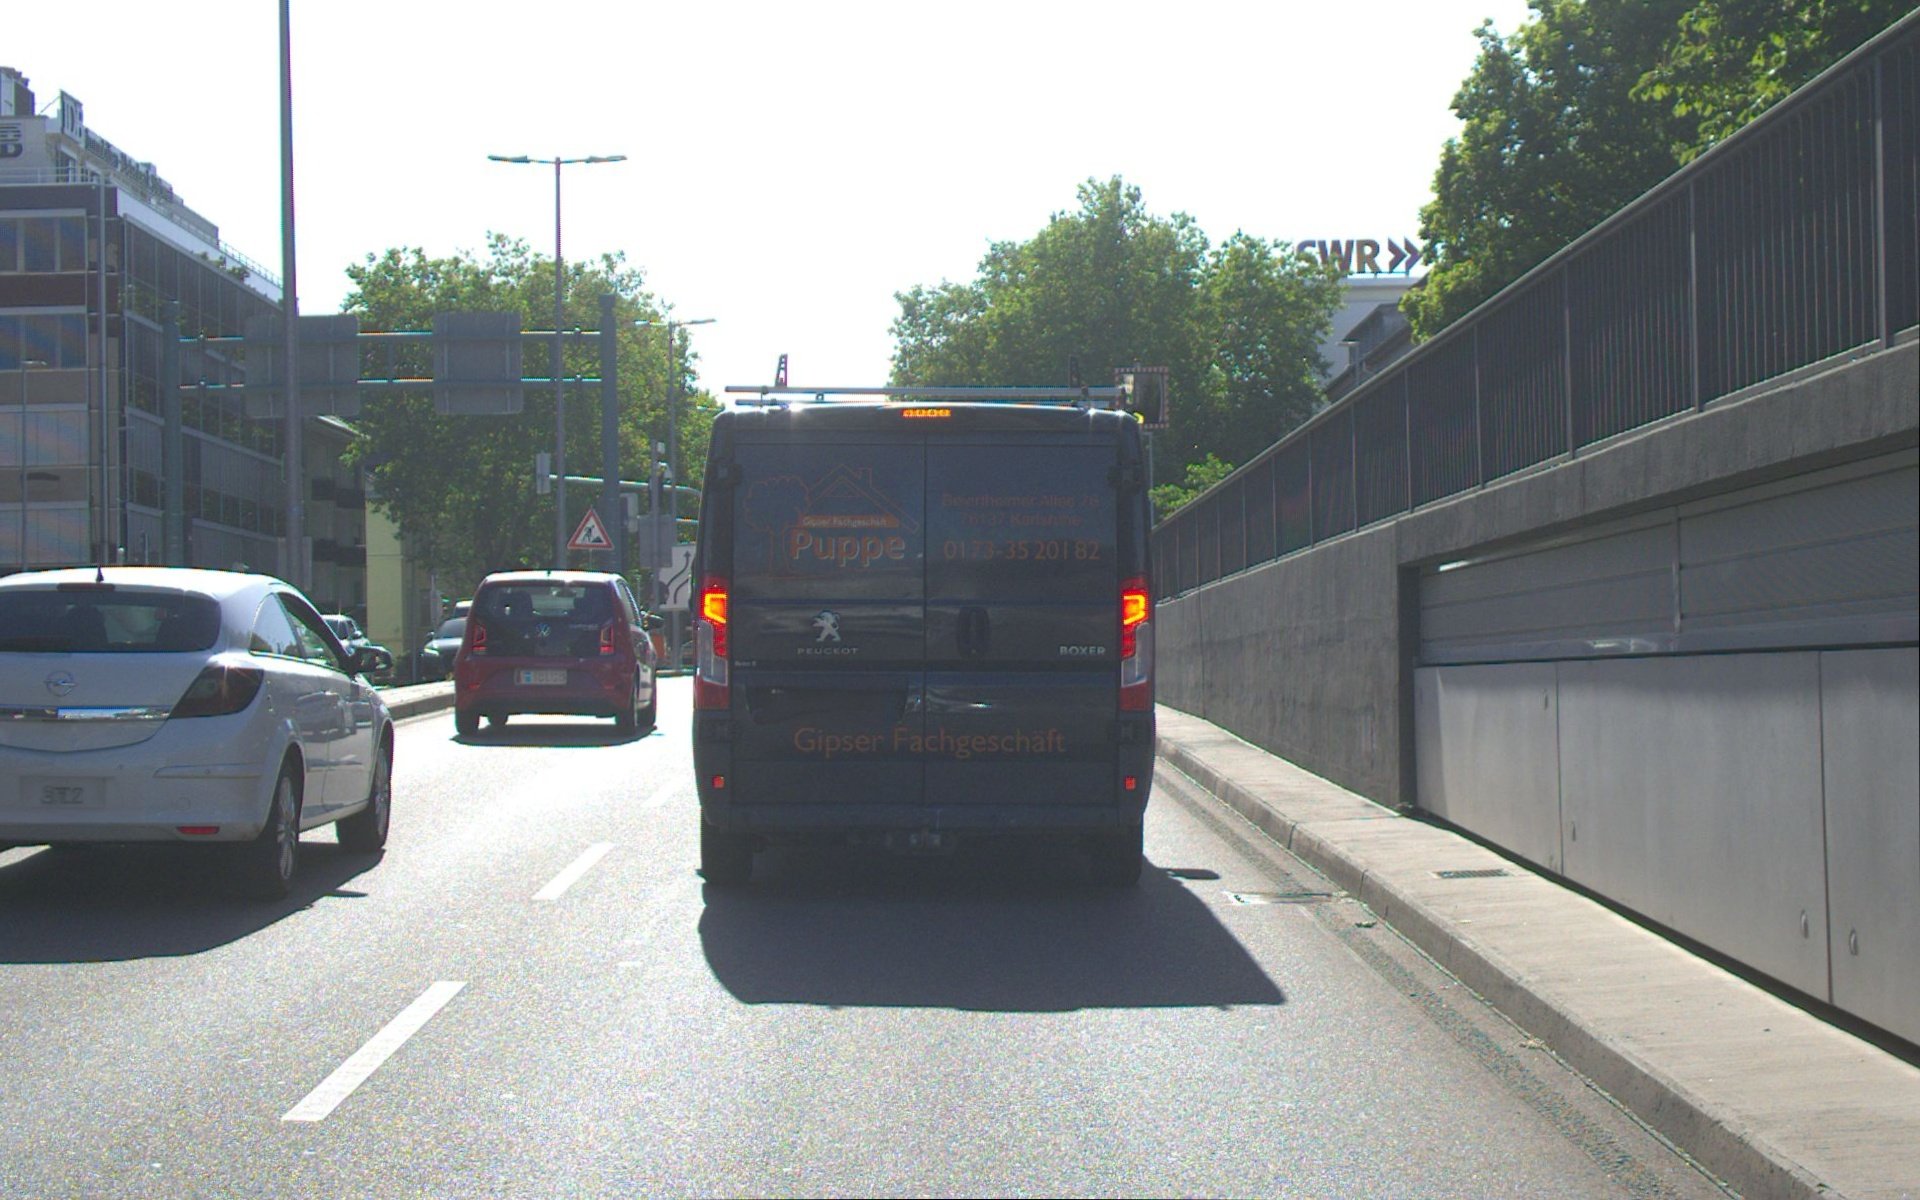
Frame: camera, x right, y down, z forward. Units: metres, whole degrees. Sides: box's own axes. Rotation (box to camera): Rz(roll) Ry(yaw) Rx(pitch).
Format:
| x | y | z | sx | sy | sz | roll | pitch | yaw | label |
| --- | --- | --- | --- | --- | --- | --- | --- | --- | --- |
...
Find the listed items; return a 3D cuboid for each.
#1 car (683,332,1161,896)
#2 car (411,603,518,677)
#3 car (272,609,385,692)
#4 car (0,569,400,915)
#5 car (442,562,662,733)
| x | y | z | sx | sy | sz | roll | pitch | yaw | label |
| --- | --- | --- | --- | --- | --- | --- | --- | --- | --- |
| -0.190 | 0.077 | 16.650 | 2.030 | 2.394 | 3.972 | 0 | -1 | -1 | car |
| -9.699 | 0.766 | 67.486 | 1.538 | 1.295 | 3.928 | -3 | 0 | -1 | car |
| -12.322 | 0.970 | 67.259 | 1.538 | 1.460 | 3.718 | -3 | 0 | -1 | car |
| -3.692 | 0.565 | 15.951 | 1.619 | 1.398 | 3.852 | 0 | 0 | -1 | car |
| -3.698 | 0.404 | 31.633 | 1.689 | 1.478 | 3.319 | 0 | 0 | -1 | car |
